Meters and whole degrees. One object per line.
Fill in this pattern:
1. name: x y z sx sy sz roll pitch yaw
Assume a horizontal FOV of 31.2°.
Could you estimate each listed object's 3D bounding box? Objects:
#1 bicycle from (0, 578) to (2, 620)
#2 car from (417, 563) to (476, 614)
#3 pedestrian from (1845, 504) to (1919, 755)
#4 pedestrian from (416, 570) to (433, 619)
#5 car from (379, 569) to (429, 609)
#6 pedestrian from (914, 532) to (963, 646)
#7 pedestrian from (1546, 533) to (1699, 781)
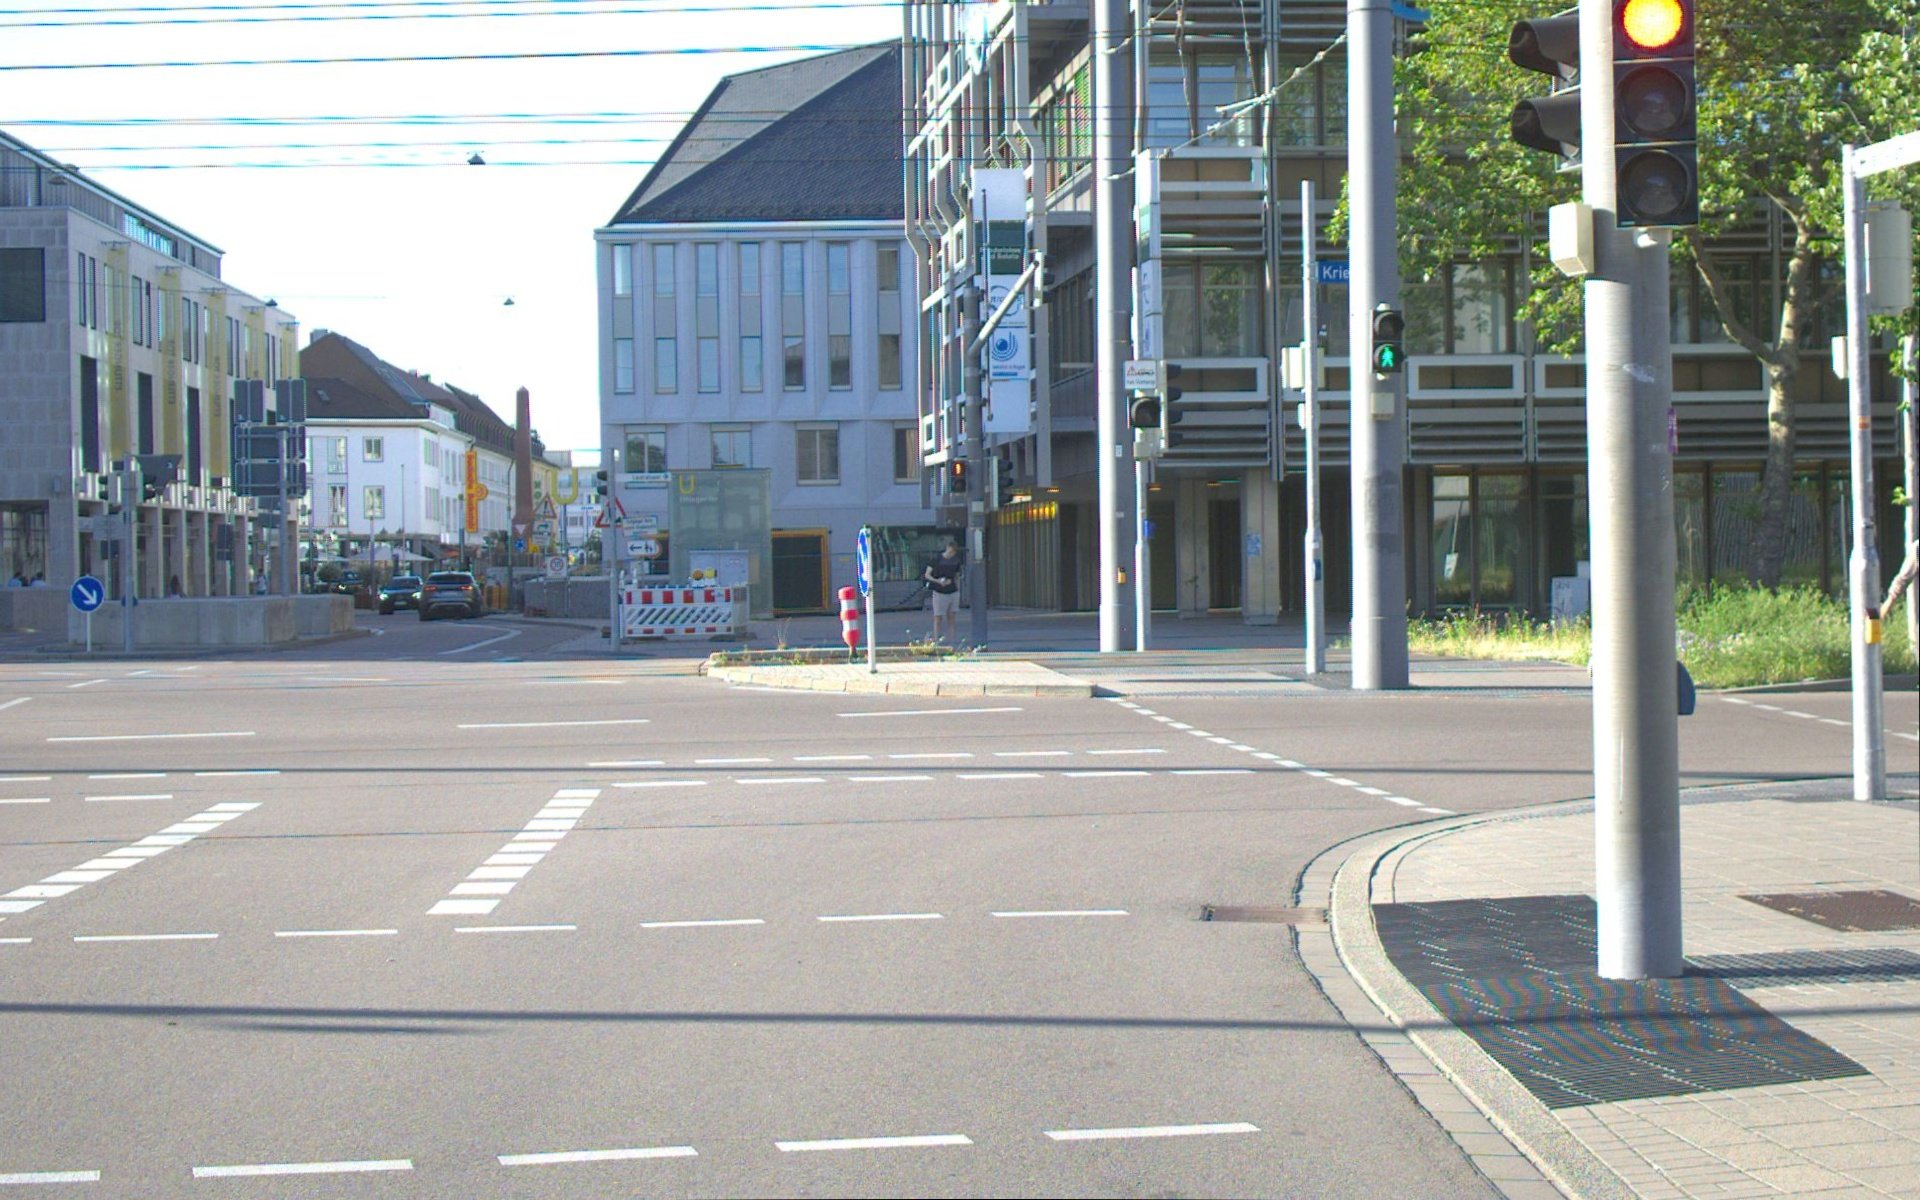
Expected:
1. bicycle: -27.944 -0.033 97.258 0.511 1.202 1.808 1 1 29
2. car: -16.143 -0.373 108.208 1.737 1.525 3.856 1 1 -7
3. pedestrian: 6.633 0.192 23.223 0.878 1.659 0.965 1 0 -16
4. pedestrian: -18.228 -0.192 117.013 0.521 1.674 0.583 1 1 -7
5. car: -24.110 -0.491 149.244 1.797 1.652 4.001 1 1 -4
6. pedestrian: -0.366 -0.179 57.314 0.788 1.883 0.644 1 0 -1
7. pedestrian: 4.068 0.343 21.138 0.788 1.487 0.644 1 0 -1
